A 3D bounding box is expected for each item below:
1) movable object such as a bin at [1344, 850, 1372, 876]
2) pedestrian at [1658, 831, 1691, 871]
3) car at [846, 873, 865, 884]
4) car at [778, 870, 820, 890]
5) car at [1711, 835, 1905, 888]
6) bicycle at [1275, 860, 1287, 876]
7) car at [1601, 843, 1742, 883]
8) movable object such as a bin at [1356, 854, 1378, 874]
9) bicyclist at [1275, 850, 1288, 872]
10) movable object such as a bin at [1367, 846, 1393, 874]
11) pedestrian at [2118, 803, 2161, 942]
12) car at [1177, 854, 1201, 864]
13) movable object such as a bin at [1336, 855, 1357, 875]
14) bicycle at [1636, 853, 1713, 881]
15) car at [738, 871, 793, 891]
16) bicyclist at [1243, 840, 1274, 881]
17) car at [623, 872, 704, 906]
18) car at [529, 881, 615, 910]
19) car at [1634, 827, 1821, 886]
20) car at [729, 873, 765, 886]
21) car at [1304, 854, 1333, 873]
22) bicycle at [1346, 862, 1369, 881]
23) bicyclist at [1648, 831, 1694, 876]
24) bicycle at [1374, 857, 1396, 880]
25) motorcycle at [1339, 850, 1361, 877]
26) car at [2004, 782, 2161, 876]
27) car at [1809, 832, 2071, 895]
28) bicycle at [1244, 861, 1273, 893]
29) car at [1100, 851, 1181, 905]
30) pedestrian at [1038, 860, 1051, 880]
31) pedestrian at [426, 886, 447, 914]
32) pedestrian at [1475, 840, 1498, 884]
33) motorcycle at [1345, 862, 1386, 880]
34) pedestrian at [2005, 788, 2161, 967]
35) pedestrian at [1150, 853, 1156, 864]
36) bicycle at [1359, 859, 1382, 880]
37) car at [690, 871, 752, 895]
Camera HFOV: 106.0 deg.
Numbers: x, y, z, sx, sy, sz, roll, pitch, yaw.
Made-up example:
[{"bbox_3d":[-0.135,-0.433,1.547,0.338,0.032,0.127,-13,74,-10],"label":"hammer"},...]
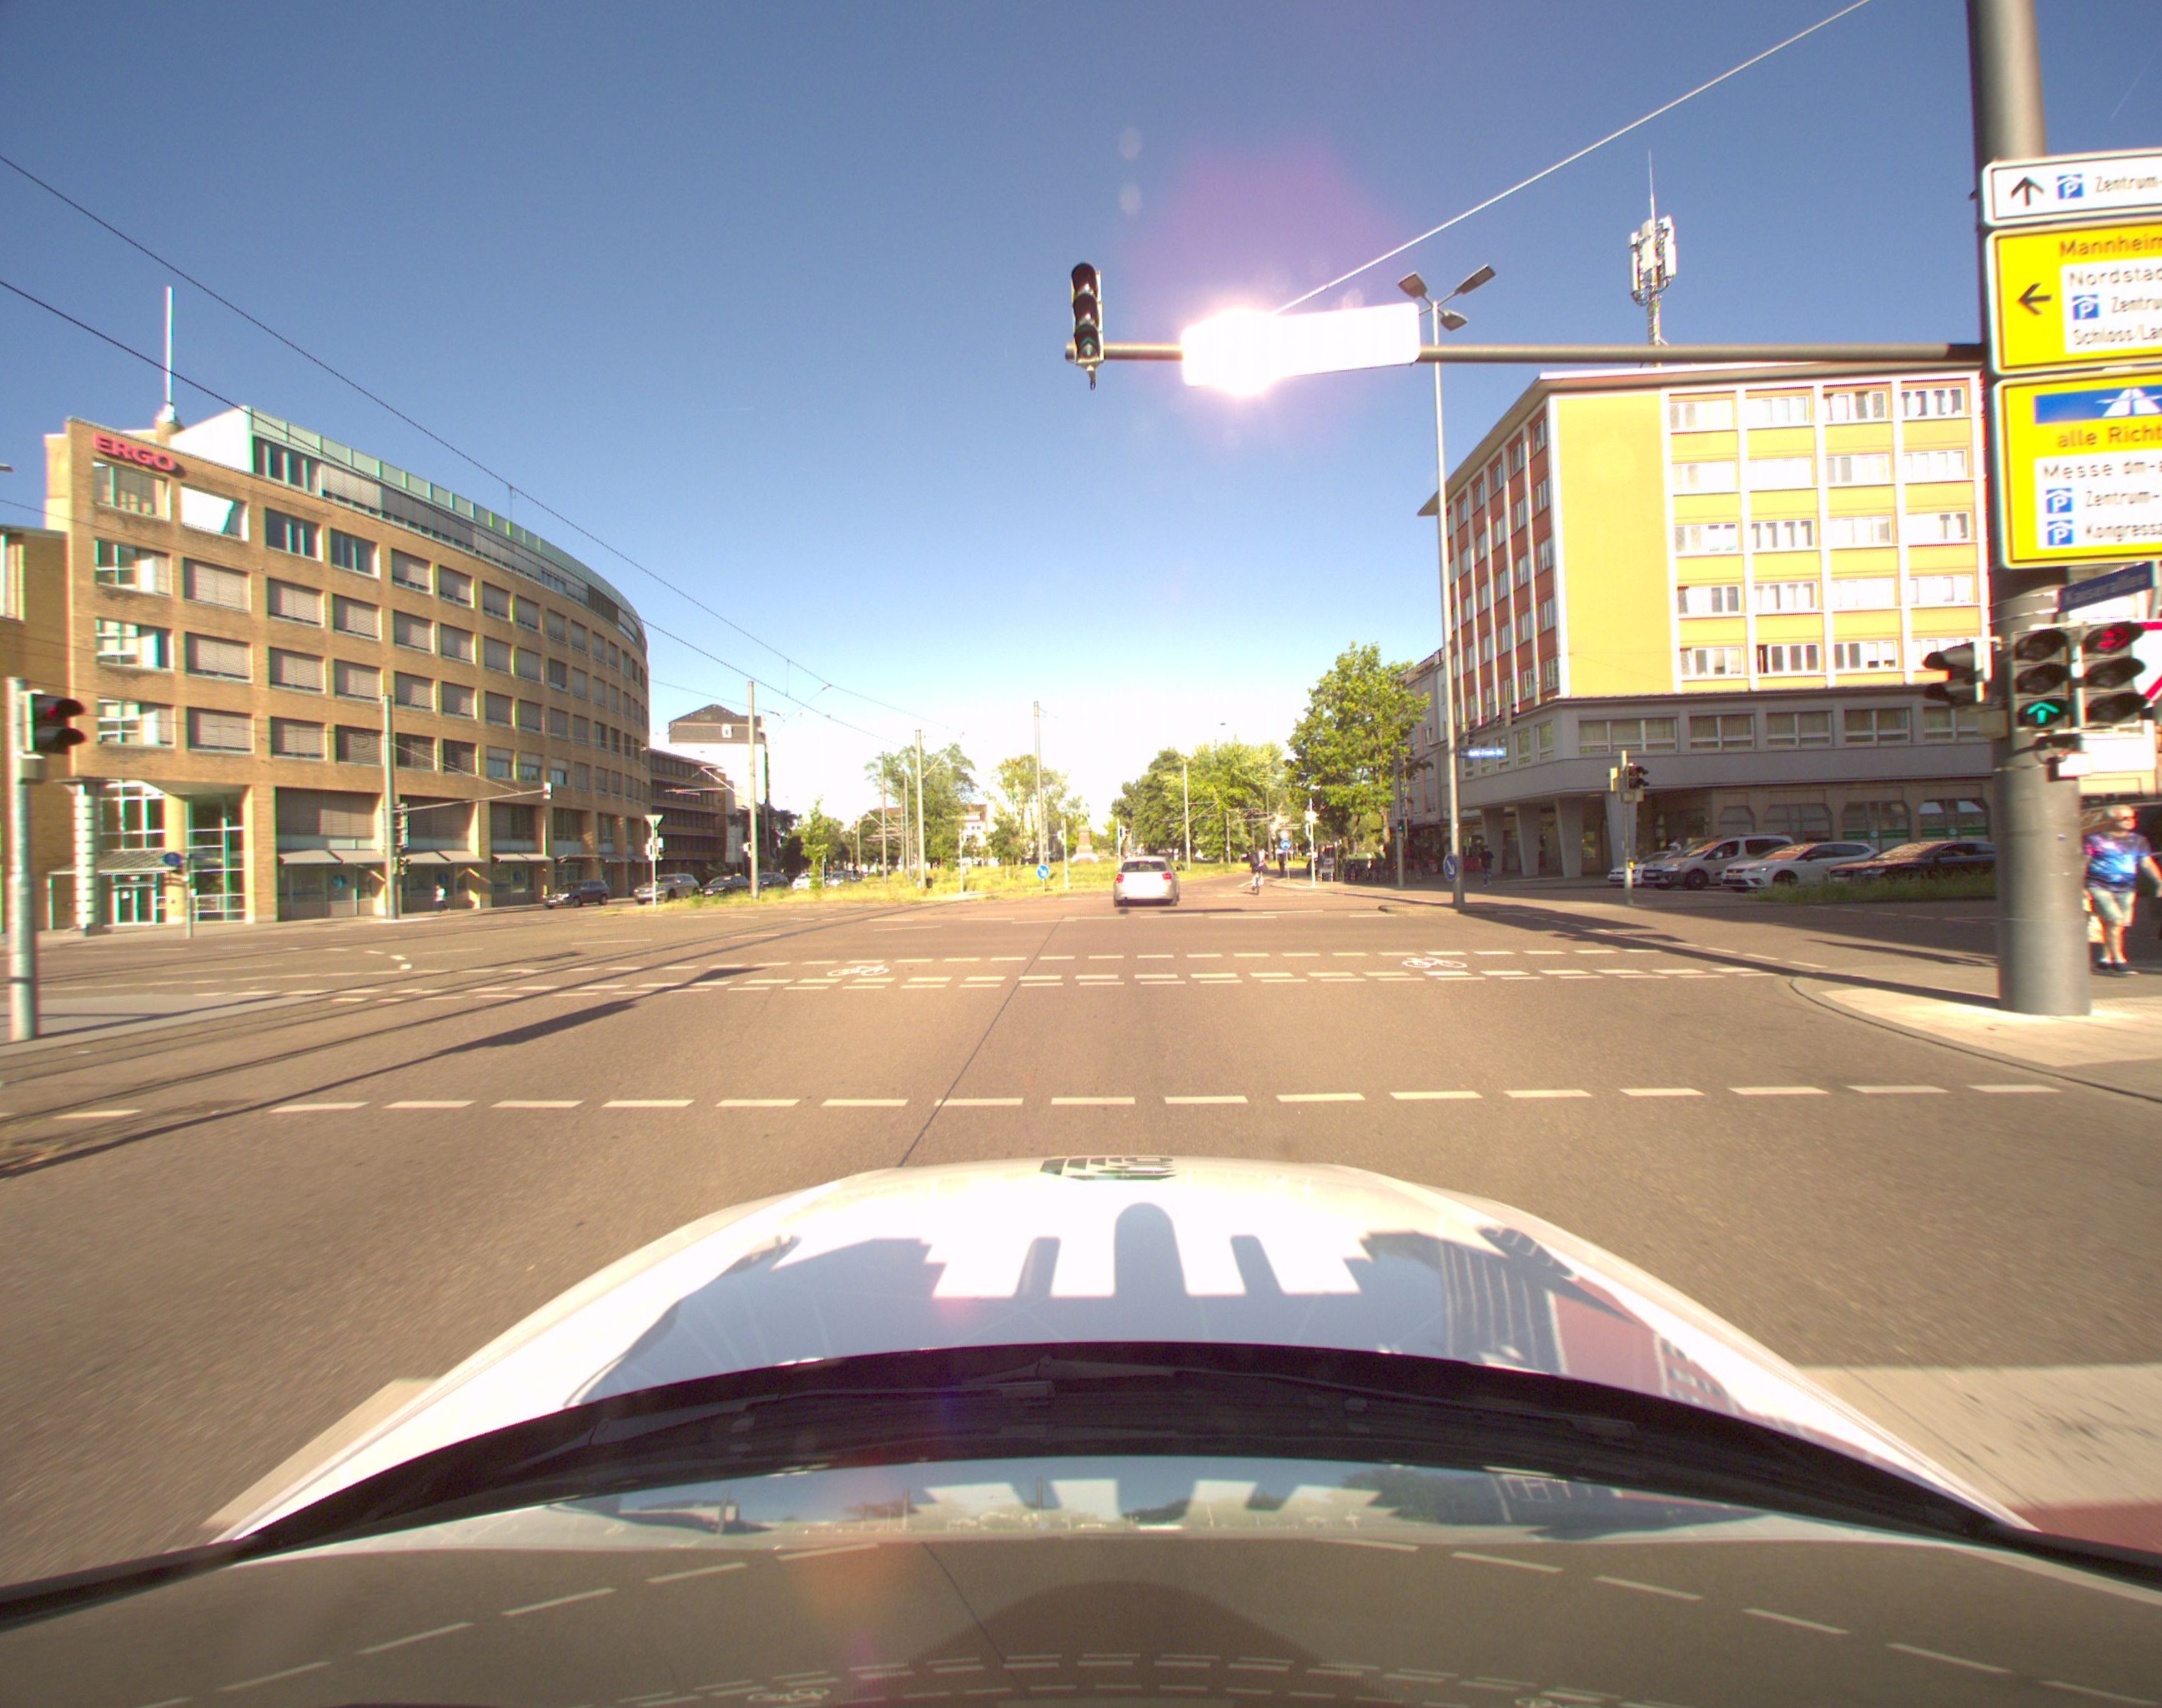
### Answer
[{"bbox_3d":[17.476,0.577,51.346,1.376,1.640,1.008,-1,-1,1],"label":"movable object such as a bin"},{"bbox_3d":[26.722,-0.133,36.694,0.859,1.779,0.892,0,-1,-26],"label":"pedestrian"},{"bbox_3d":[-35.280,3.837,127.326,1.989,1.513,4.276,-1,-4,-3],"label":"car"},{"bbox_3d":[-24.145,2.184,69.848,1.987,1.596,4.655,0,-1,0],"label":"car"},{"bbox_3d":[20.895,0.223,23.534,3.974,1.440,1.848,0,-1,0],"label":"car"},{"bbox_3d":[15.463,1.103,62.825,0.813,1.185,1.972,0,-1,16],"label":"bicycle"},{"bbox_3d":[22.967,0.375,31.777,4.137,1.503,1.844,0,-3,-1],"label":"car"},{"bbox_3d":[19.941,0.695,56.856,1.208,1.391,0.960,0,-1,3],"label":"movable object such as a bin"},{"bbox_3d":[15.482,0.556,62.929,0.932,1.633,0.939,0,-1,16],"label":"bicyclist"},{"bbox_3d":[18.796,0.409,51.245,1.251,1.709,0.945,-2,-2,1],"label":"movable object such as a bin"},{"bbox_3d":[14.081,0.227,10.480,0.565,1.773,0.665,-2,-1,4],"label":"pedestrian"},{"bbox_3d":[25.163,1.167,190.115,5.315,2.314,2.001,0,-1,2],"label":"car"},{"bbox_3d":[18.541,0.778,56.828,1.167,1.356,0.928,0,-1,3],"label":"movable object such as a bin"},{"bbox_3d":[21.186,0.464,29.120,2.135,1.001,0.861,0,-1,-1],"label":"bicycle"},{"bbox_3d":[-24.307,2.069,62.907,1.984,1.447,5.025,0,-1,4],"label":"car"},{"bbox_3d":[6.566,0.243,30.064,1.030,1.484,0.993,-1,-1,17],"label":"bicyclist"},{"bbox_3d":[-24.394,1.998,47.860,2.093,1.734,5.085,-2,0,0],"label":"car"},{"bbox_3d":[-32.257,2.618,51.853,2.110,1.668,5.212,0,-1,1],"label":"car"},{"bbox_3d":[21.130,0.098,26.756,4.570,1.850,1.947,0,-1,1],"label":"car"},{"bbox_3d":[-41.467,3.147,101.057,4.010,1.581,1.982,0,-1,-28],"label":"car"},{"bbox_3d":[19.815,0.754,67.826,1.749,1.438,4.609,-3,-1,23],"label":"car"},{"bbox_3d":[14.876,0.954,43.899,0.474,0.984,2.118,0,-1,-1],"label":"bicycle"},{"bbox_3d":[21.077,-0.007,29.118,0.930,1.560,0.941,0,-1,-1],"label":"bicyclist"},{"bbox_3d":[16.563,0.775,44.363,0.530,1.244,1.847,0,-1,0],"label":"bicycle"},{"bbox_3d":[16.198,0.567,49.015,0.798,1.539,2.551,-1,0,8],"label":"motorcycle"},{"bbox_3d":[27.352,-0.667,20.500,5.212,2.199,2.381,-2,-1,5],"label":"car"},{"bbox_3d":[21.277,0.239,20.374,4.120,1.469,1.980,0,-1,11],"label":"car"},{"bbox_3d":[6.578,0.839,30.117,0.878,1.136,2.238,-1,-1,17],"label":"bicycle"},{"bbox_3d":[1.857,0.683,24.068,1.981,1.423,4.207,0,-1,10],"label":"car"},{"bbox_3d":[-3.063,1.359,68.614,0.727,1.671,0.749,-2,-1,27],"label":"pedestrian"},{"bbox_3d":[-36.914,2.635,46.666,0.593,1.532,0.714,0,-1,10],"label":"pedestrian"},{"bbox_3d":[17.489,0.349,35.165,0.818,1.844,0.896,-1,-1,24],"label":"pedestrian"},{"bbox_3d":[16.419,0.982,46.982,2.088,1.022,0.763,-1,0,2],"label":"motorcycle"},{"bbox_3d":[10.655,0.234,8.586,0.786,1.777,0.875,-2,-1,1],"label":"pedestrian"},{"bbox_3d":[9.948,0.630,112.547,0.676,1.616,0.550,0,-1,-27],"label":"pedestrian"},{"bbox_3d":[15.581,0.826,43.889,0.474,1.117,2.118,0,-1,-1],"label":"bicycle"},{"bbox_3d":[-24.101,1.931,54.716,1.987,1.517,4.661,0,-1,0],"label":"car"}]
